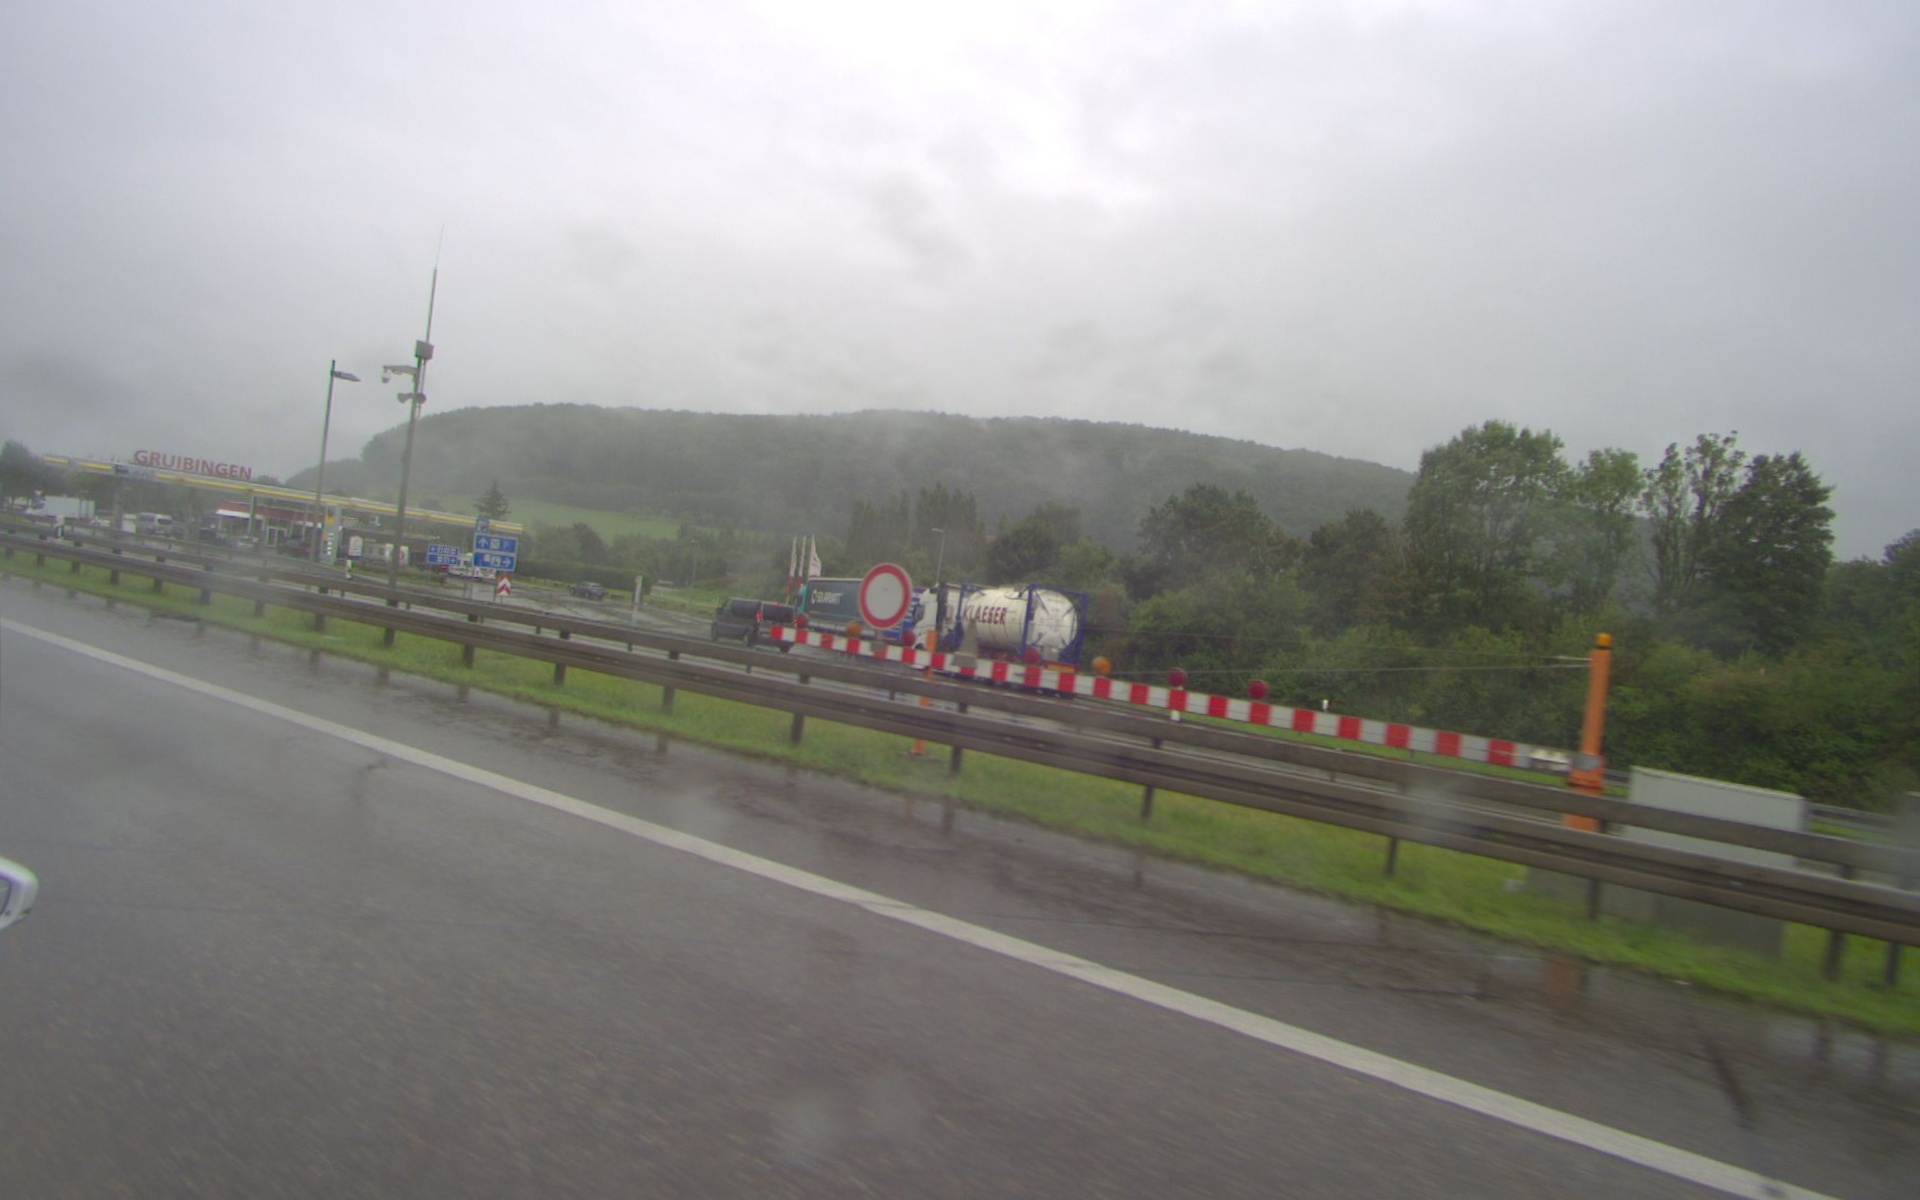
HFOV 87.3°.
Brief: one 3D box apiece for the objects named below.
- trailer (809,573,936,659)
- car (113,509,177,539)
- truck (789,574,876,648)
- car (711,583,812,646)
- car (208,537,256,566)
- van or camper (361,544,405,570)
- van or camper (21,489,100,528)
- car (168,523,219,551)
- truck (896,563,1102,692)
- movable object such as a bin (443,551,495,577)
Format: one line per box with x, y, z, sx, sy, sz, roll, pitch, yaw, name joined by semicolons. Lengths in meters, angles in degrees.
-5.109;0.722;55.210;2.759;3.945;11.685;8;-2;-25;trailer
-86.487;-8.082;106.794;5.348;2.335;2.003;7;-2;9;car
-7.917;0.582;61.457;2.723;3.911;7.493;8;-2;-24;truck
-8.323;0.566;41.782;1.983;2.037;5.005;8;-1;-36;car
-65.427;-4.372;90.368;3.934;2.037;1.964;6;-2;32;car
-57.975;-4.334;101.043;3.934;2.037;1.998;6;-2;31;van or camper
-95.649;-9.708;107.031;6.062;3.094;2.000;8;-1;-3;van or camper
-71.633;-5.866;94.013;4.820;2.037;1.998;6;-2;32;car
1.138;0.918;41.464;2.845;4.304;11.803;8;-2;-25;truck
-51.494;-3.802;105.434;5.293;2.036;2.171;6;-2;31;movable object such as a bin
